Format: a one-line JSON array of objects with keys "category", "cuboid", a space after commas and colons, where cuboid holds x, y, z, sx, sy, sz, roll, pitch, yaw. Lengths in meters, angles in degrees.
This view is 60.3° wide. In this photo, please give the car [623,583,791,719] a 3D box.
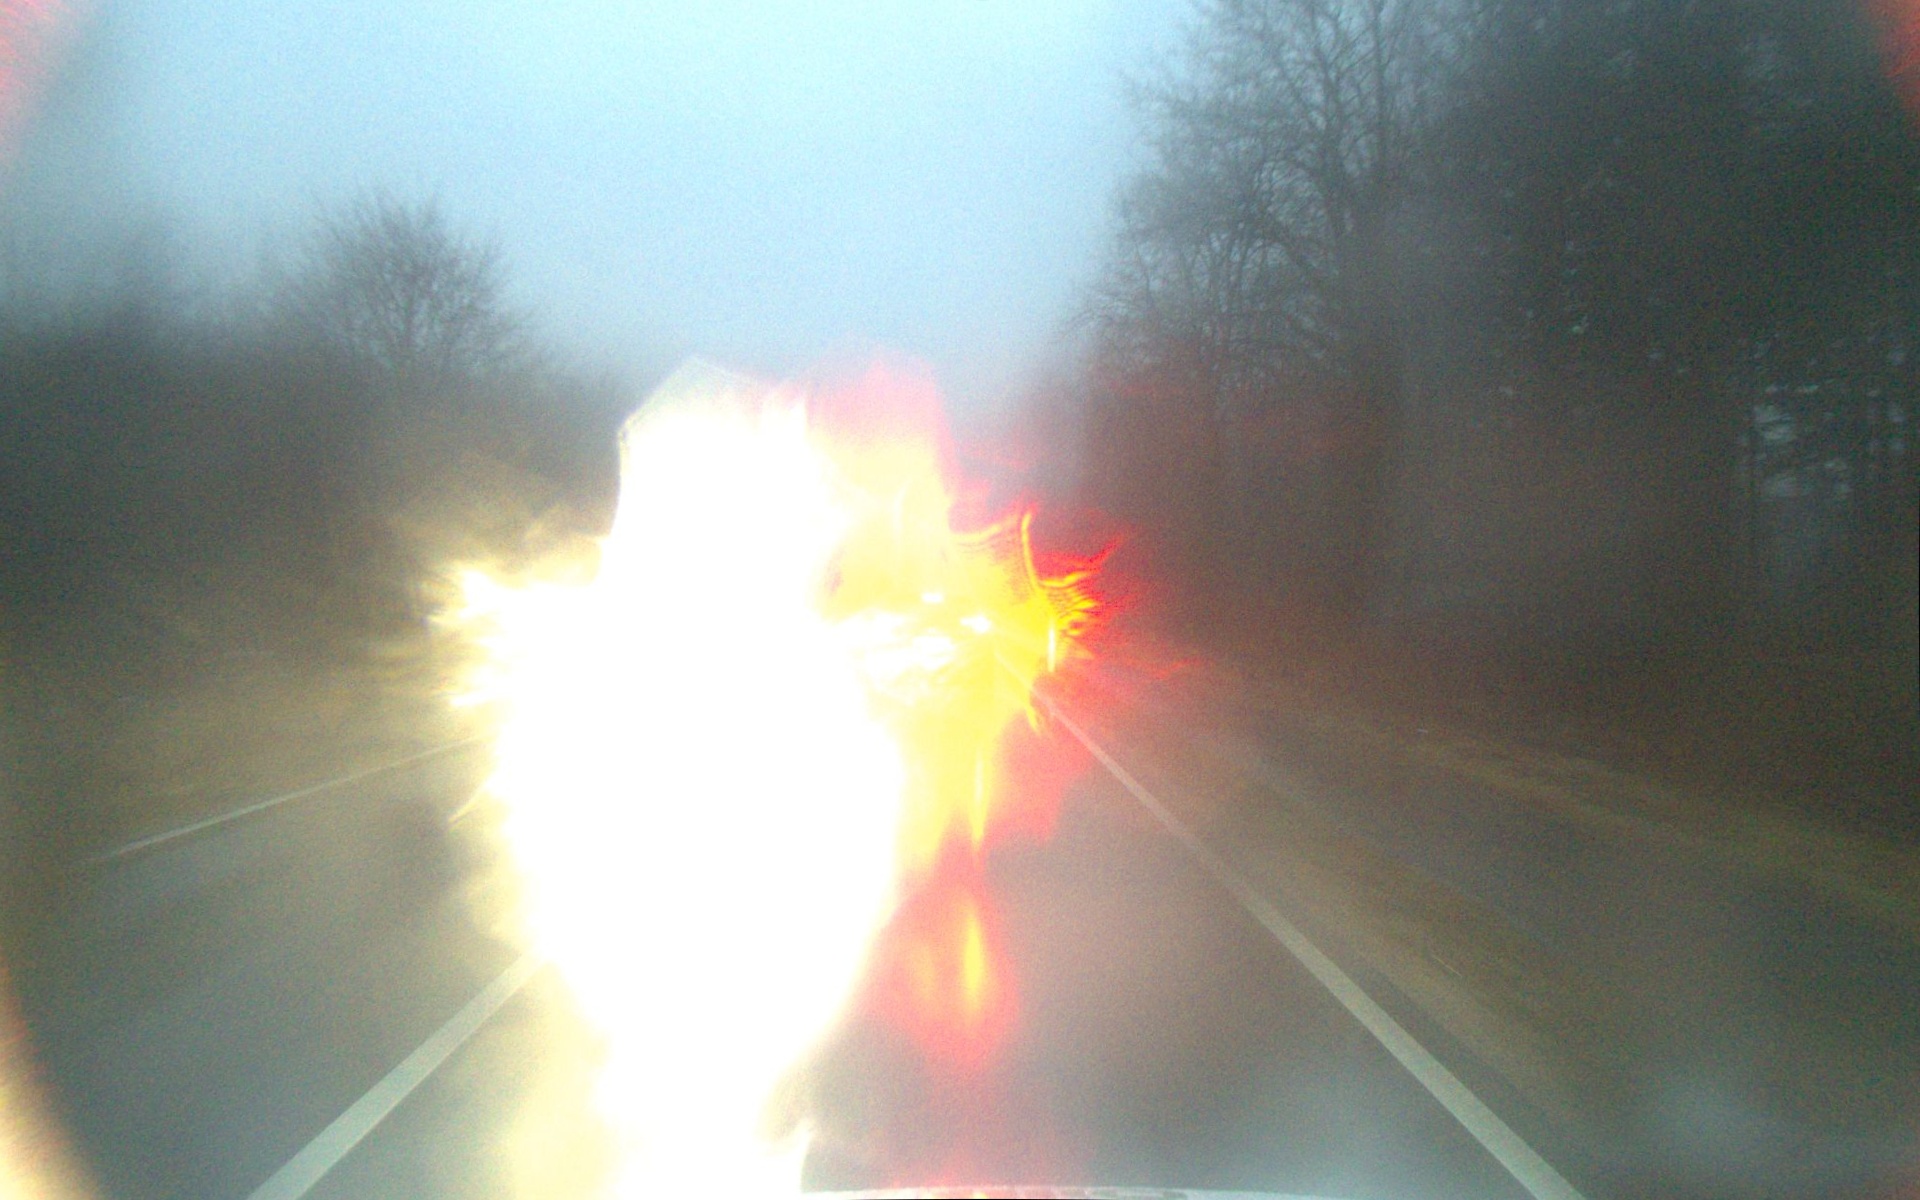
[{"category": "car", "cuboid": [-3.324, 0.614, 22.448, 1.660, 1.587, 4.128, 1, 1, -1]}]

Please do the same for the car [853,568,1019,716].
[{"category": "car", "cuboid": [-0.367, 0.557, 24.188, 2.153, 1.910, 4.825, 1, 0, -1]}]
